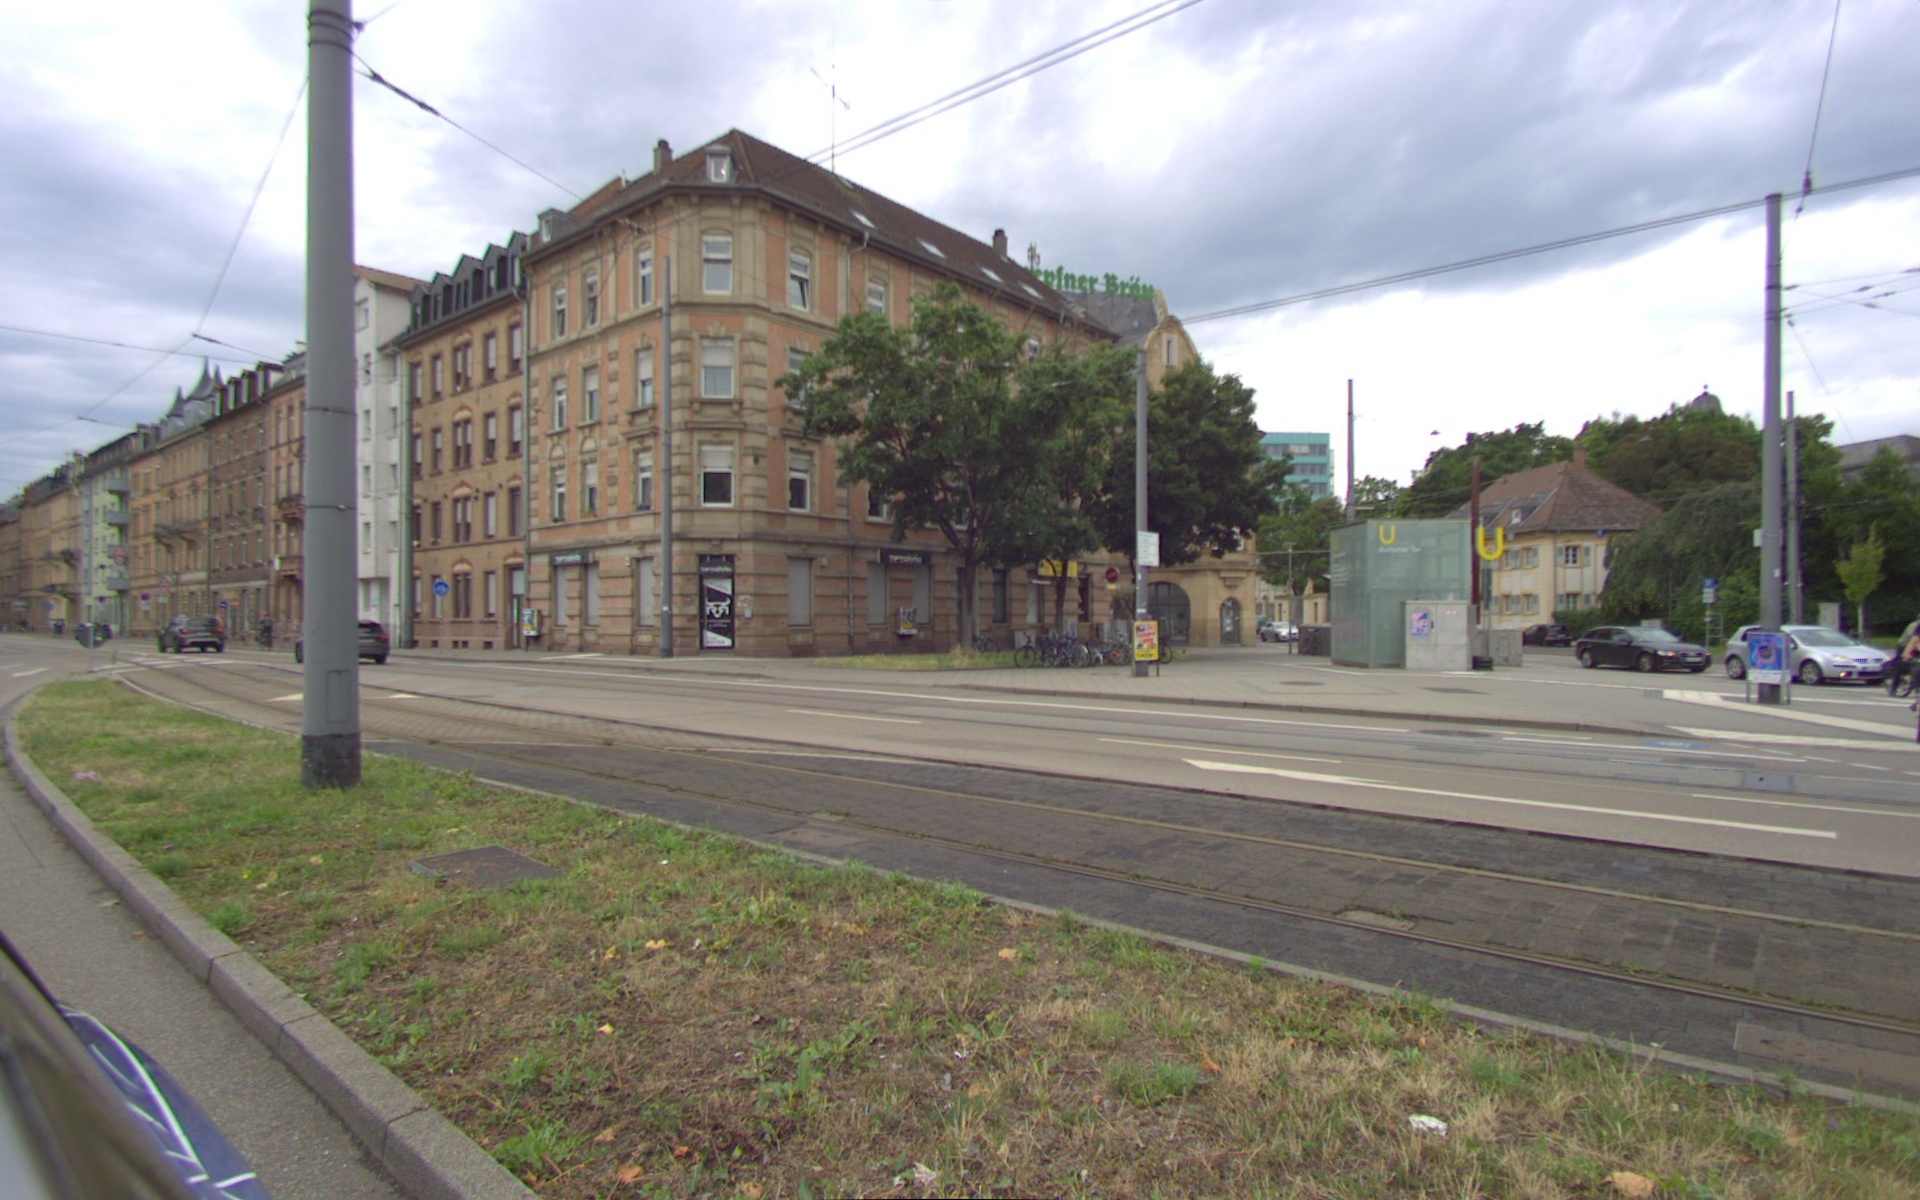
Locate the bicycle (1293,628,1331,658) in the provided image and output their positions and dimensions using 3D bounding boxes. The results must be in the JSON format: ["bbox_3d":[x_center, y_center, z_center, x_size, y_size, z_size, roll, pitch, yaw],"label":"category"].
[{"bbox_3d":[13.933,1.697,40.127,0.730,1.123,2.361,-1,-1,3],"label":"bicycle"}]

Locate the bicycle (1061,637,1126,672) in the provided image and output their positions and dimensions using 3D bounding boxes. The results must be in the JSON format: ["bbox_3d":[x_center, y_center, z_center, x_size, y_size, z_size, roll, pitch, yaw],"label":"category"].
[{"bbox_3d":[4.034,1.633,30.840,0.492,0.994,2.224,0,-1,-39],"label":"bicycle"}]

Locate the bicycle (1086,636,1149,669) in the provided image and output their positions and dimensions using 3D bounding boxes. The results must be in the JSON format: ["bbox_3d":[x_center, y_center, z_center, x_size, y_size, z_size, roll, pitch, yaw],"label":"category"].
[{"bbox_3d":[5.035,1.684,32.496,0.492,0.994,2.224,0,-1,-39],"label":"bicycle"}]

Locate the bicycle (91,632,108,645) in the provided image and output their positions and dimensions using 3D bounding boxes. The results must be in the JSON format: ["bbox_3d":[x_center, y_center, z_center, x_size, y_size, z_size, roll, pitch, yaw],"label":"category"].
[{"bbox_3d":[-61.206,2.728,71.971,1.716,0.922,0.600,-1,-1,37],"label":"bicycle"}]

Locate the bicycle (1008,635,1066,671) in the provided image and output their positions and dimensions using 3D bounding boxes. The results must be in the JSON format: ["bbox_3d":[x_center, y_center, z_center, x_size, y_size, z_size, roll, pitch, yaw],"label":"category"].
[{"bbox_3d":[2.249,1.539,29.754,0.492,0.994,1.872,1,-2,-41],"label":"bicycle"}]

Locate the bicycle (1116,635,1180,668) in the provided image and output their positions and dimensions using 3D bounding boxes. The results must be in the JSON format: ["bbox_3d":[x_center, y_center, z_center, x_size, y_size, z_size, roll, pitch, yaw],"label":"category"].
[{"bbox_3d":[6.359,1.724,34.283,0.678,1.047,2.224,0,-1,-39],"label":"bicycle"}]

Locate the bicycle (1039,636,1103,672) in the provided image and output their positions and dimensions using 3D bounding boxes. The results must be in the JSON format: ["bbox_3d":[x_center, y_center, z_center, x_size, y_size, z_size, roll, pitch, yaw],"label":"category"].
[{"bbox_3d":[3.316,1.599,30.507,0.472,1.014,2.224,0,-1,-39],"label":"bicycle"}]

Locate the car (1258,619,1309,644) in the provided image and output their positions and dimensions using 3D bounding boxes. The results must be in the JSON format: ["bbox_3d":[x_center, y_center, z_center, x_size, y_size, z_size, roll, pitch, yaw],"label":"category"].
[{"bbox_3d":[22.915,2.212,71.838,1.969,1.741,4.005,0,-1,-6],"label":"car"}]

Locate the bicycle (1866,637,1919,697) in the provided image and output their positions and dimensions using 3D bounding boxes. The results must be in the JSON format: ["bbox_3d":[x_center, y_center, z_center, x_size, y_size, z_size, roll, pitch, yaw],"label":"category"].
[{"bbox_3d":[19.961,1.379,20.714,0.845,1.217,2.197,0,-1,1],"label":"bicycle"}]

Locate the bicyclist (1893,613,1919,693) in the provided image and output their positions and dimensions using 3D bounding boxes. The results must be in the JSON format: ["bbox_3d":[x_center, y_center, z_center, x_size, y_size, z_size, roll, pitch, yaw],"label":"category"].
[{"bbox_3d":[19.966,1.080,20.715,0.843,1.635,0.917,0,-2,1],"label":"bicyclist"}]

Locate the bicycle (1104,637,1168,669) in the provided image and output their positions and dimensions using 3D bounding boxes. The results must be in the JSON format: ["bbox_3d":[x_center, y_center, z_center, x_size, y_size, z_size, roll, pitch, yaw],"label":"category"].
[{"bbox_3d":[5.759,1.725,33.158,0.576,0.994,2.224,0,-1,-39],"label":"bicycle"}]

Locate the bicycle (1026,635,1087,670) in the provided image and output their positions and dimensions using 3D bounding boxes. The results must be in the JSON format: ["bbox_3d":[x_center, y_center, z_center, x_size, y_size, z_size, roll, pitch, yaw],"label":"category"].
[{"bbox_3d":[2.864,1.557,30.181,0.513,0.994,2.041,0,-1,-39],"label":"bicycle"}]

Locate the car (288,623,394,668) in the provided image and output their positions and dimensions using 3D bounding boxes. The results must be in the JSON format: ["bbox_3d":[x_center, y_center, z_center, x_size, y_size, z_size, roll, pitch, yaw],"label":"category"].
[{"bbox_3d":[-20.810,1.484,33.955,4.387,1.406,1.676,-1,-2,39],"label":"car"}]

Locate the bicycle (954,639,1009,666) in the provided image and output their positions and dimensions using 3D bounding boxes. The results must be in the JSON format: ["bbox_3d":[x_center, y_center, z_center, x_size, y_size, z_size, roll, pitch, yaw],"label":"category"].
[{"bbox_3d":[0.811,1.965,38.000,1.982,0.921,0.655,-4,-5,31],"label":"bicycle"}]

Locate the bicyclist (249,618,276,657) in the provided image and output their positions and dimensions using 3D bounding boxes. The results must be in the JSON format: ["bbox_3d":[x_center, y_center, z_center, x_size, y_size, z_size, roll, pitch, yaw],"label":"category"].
[{"bbox_3d":[-34.671,1.861,50.296,1.048,1.906,0.821,-2,-3,39],"label":"bicyclist"}]

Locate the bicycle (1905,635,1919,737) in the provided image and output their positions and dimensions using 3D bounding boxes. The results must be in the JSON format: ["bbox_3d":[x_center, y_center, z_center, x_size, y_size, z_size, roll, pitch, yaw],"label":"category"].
[{"bbox_3d":[12.733,1.083,12.992,0.816,1.252,1.971,-3,-4,43],"label":"bicycle"}]

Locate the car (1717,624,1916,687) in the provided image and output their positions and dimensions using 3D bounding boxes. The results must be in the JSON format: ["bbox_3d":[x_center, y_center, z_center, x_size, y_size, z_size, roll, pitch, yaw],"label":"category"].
[{"bbox_3d":[21.899,1.381,26.135,1.739,1.465,4.156,-1,-1,4],"label":"car"}]

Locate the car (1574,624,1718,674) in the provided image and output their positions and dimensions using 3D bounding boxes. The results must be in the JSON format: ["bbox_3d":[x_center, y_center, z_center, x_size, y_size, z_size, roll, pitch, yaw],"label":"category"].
[{"bbox_3d":[21.798,1.517,32.381,1.673,1.460,4.144,-1,-1,-1],"label":"car"}]

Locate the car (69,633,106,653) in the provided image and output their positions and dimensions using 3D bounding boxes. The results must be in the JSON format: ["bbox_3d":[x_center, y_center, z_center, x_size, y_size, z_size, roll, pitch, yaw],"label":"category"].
[{"bbox_3d":[-69.104,3.360,80.153,3.828,1.491,1.828,-1,-2,43],"label":"car"}]

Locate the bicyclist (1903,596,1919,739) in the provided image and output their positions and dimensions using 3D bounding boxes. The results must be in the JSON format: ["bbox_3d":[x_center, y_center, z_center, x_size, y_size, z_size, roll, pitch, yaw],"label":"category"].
[{"bbox_3d":[12.782,0.853,13.051,0.816,1.812,1.015,-3,-3,43],"label":"bicyclist"}]

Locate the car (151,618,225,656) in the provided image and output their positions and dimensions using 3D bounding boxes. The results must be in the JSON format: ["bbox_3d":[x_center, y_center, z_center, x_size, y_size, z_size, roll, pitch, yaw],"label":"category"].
[{"bbox_3d":[-35.311,1.671,46.245,4.225,1.652,1.780,-1,-1,39],"label":"car"}]

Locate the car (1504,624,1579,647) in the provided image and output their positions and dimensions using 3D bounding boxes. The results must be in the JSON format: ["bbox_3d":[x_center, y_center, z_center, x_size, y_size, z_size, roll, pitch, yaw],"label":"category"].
[{"bbox_3d":[35.611,2.145,62.090,1.904,1.298,4.006,0,-1,-7],"label":"car"}]

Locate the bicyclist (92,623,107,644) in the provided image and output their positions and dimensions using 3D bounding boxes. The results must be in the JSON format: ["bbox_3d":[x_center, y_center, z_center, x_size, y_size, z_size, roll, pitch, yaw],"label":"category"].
[{"bbox_3d":[-61.229,2.384,72.014,0.941,1.506,0.655,-1,-1,37],"label":"bicyclist"}]

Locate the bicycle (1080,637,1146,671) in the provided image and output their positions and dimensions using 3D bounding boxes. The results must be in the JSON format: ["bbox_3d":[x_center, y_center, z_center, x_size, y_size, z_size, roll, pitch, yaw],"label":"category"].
[{"bbox_3d":[4.802,1.686,31.837,0.601,0.994,2.224,0,-1,-39],"label":"bicycle"}]

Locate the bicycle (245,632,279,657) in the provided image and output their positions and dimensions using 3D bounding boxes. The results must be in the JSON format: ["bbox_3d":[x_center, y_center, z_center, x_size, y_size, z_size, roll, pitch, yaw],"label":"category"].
[{"bbox_3d":[-34.727,2.181,50.326,2.232,1.217,0.816,-2,-3,40],"label":"bicycle"}]
